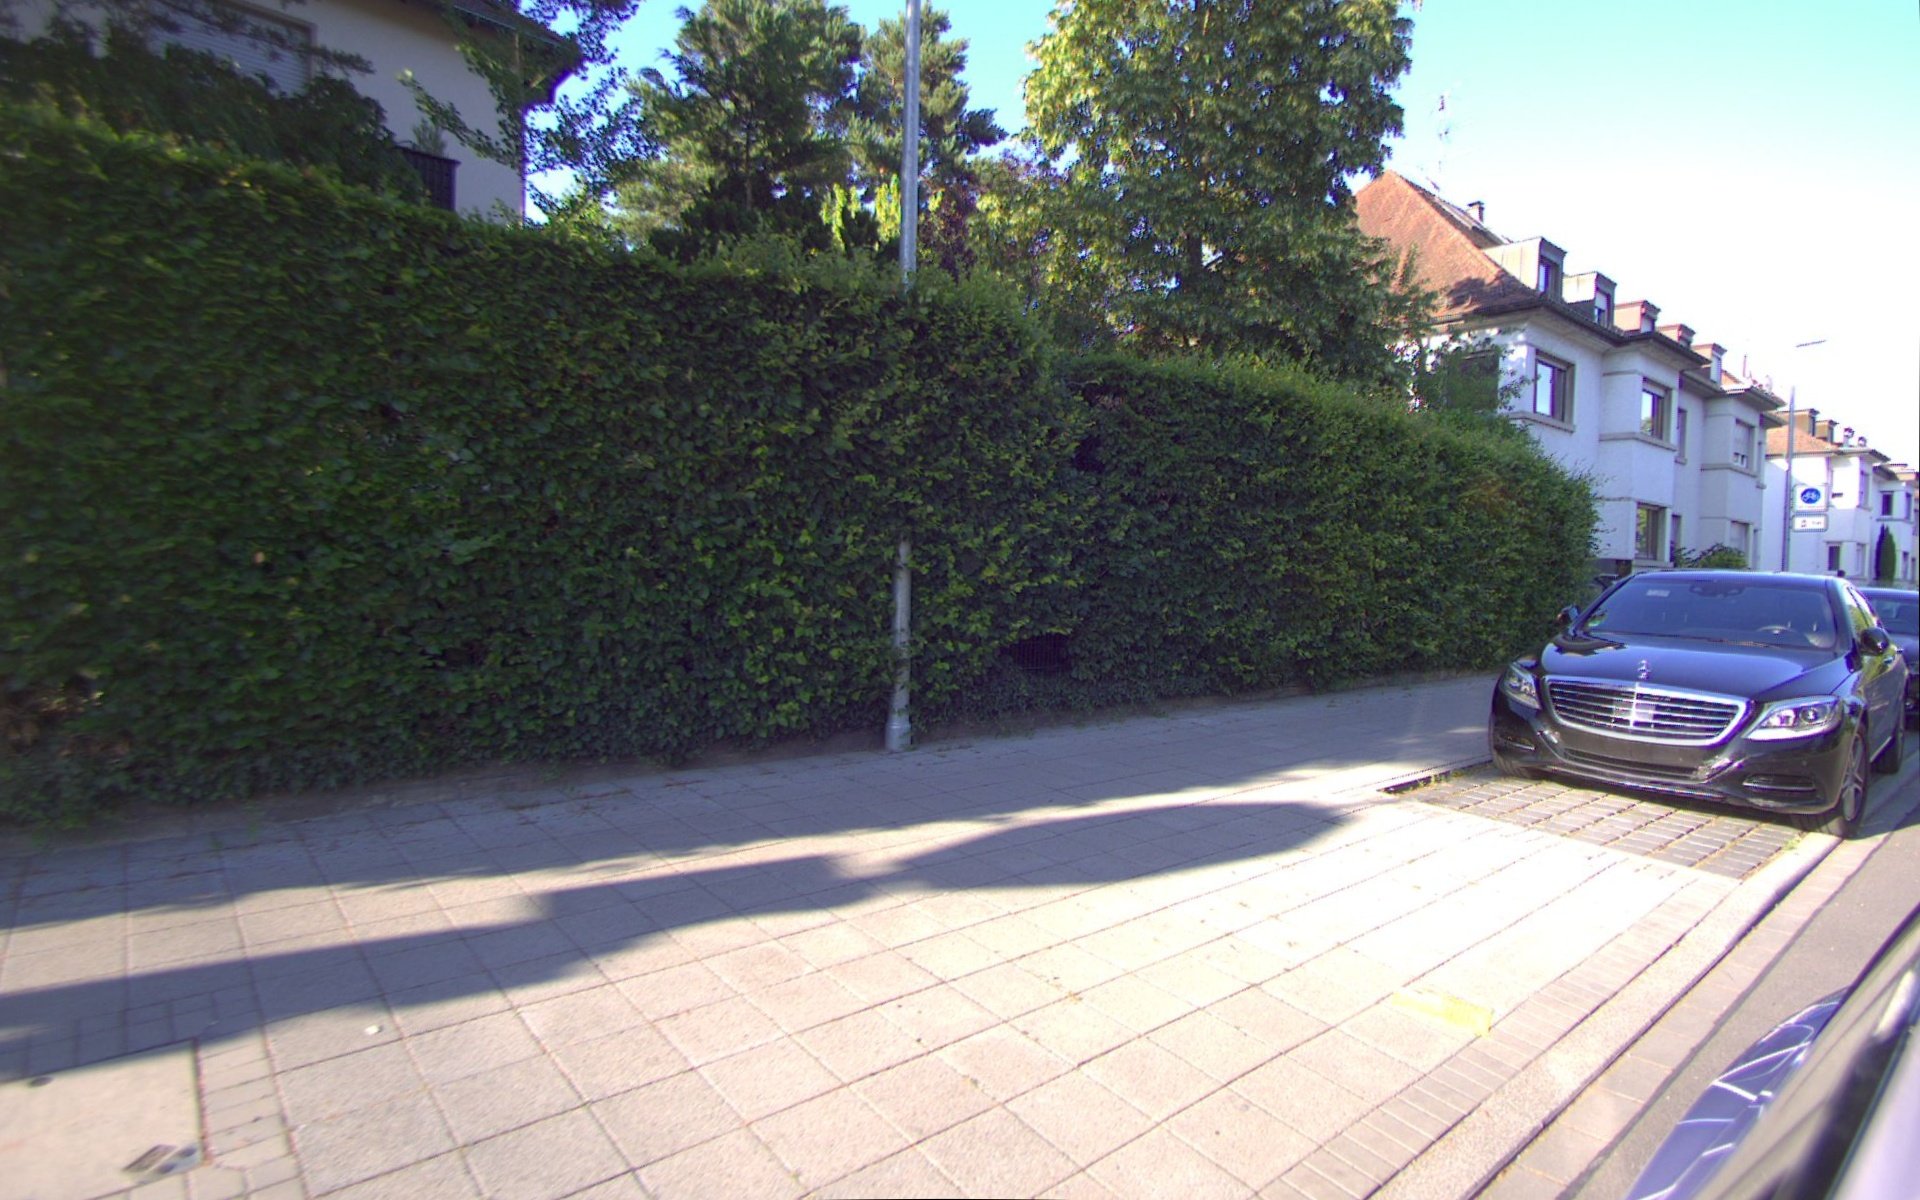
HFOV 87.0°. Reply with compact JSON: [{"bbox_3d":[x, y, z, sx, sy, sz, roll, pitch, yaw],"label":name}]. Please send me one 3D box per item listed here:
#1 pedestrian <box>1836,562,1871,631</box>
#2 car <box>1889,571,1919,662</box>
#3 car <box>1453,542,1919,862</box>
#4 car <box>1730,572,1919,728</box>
[{"bbox_3d":[24.664,-0.105,27.922,0.809,1.869,0.587,-2,1,-39],"label":"pedestrian"},{"bbox_3d":[18.861,0.296,18.907,4.006,1.616,1.794,0,0,-41],"label":"car"},{"bbox_3d":[5.605,0.431,7.336,4.833,1.516,2.007,-1,4,-43],"label":"car"},{"bbox_3d":[10.342,0.468,11.502,3.930,1.496,1.782,0,0,-41],"label":"car"}]
